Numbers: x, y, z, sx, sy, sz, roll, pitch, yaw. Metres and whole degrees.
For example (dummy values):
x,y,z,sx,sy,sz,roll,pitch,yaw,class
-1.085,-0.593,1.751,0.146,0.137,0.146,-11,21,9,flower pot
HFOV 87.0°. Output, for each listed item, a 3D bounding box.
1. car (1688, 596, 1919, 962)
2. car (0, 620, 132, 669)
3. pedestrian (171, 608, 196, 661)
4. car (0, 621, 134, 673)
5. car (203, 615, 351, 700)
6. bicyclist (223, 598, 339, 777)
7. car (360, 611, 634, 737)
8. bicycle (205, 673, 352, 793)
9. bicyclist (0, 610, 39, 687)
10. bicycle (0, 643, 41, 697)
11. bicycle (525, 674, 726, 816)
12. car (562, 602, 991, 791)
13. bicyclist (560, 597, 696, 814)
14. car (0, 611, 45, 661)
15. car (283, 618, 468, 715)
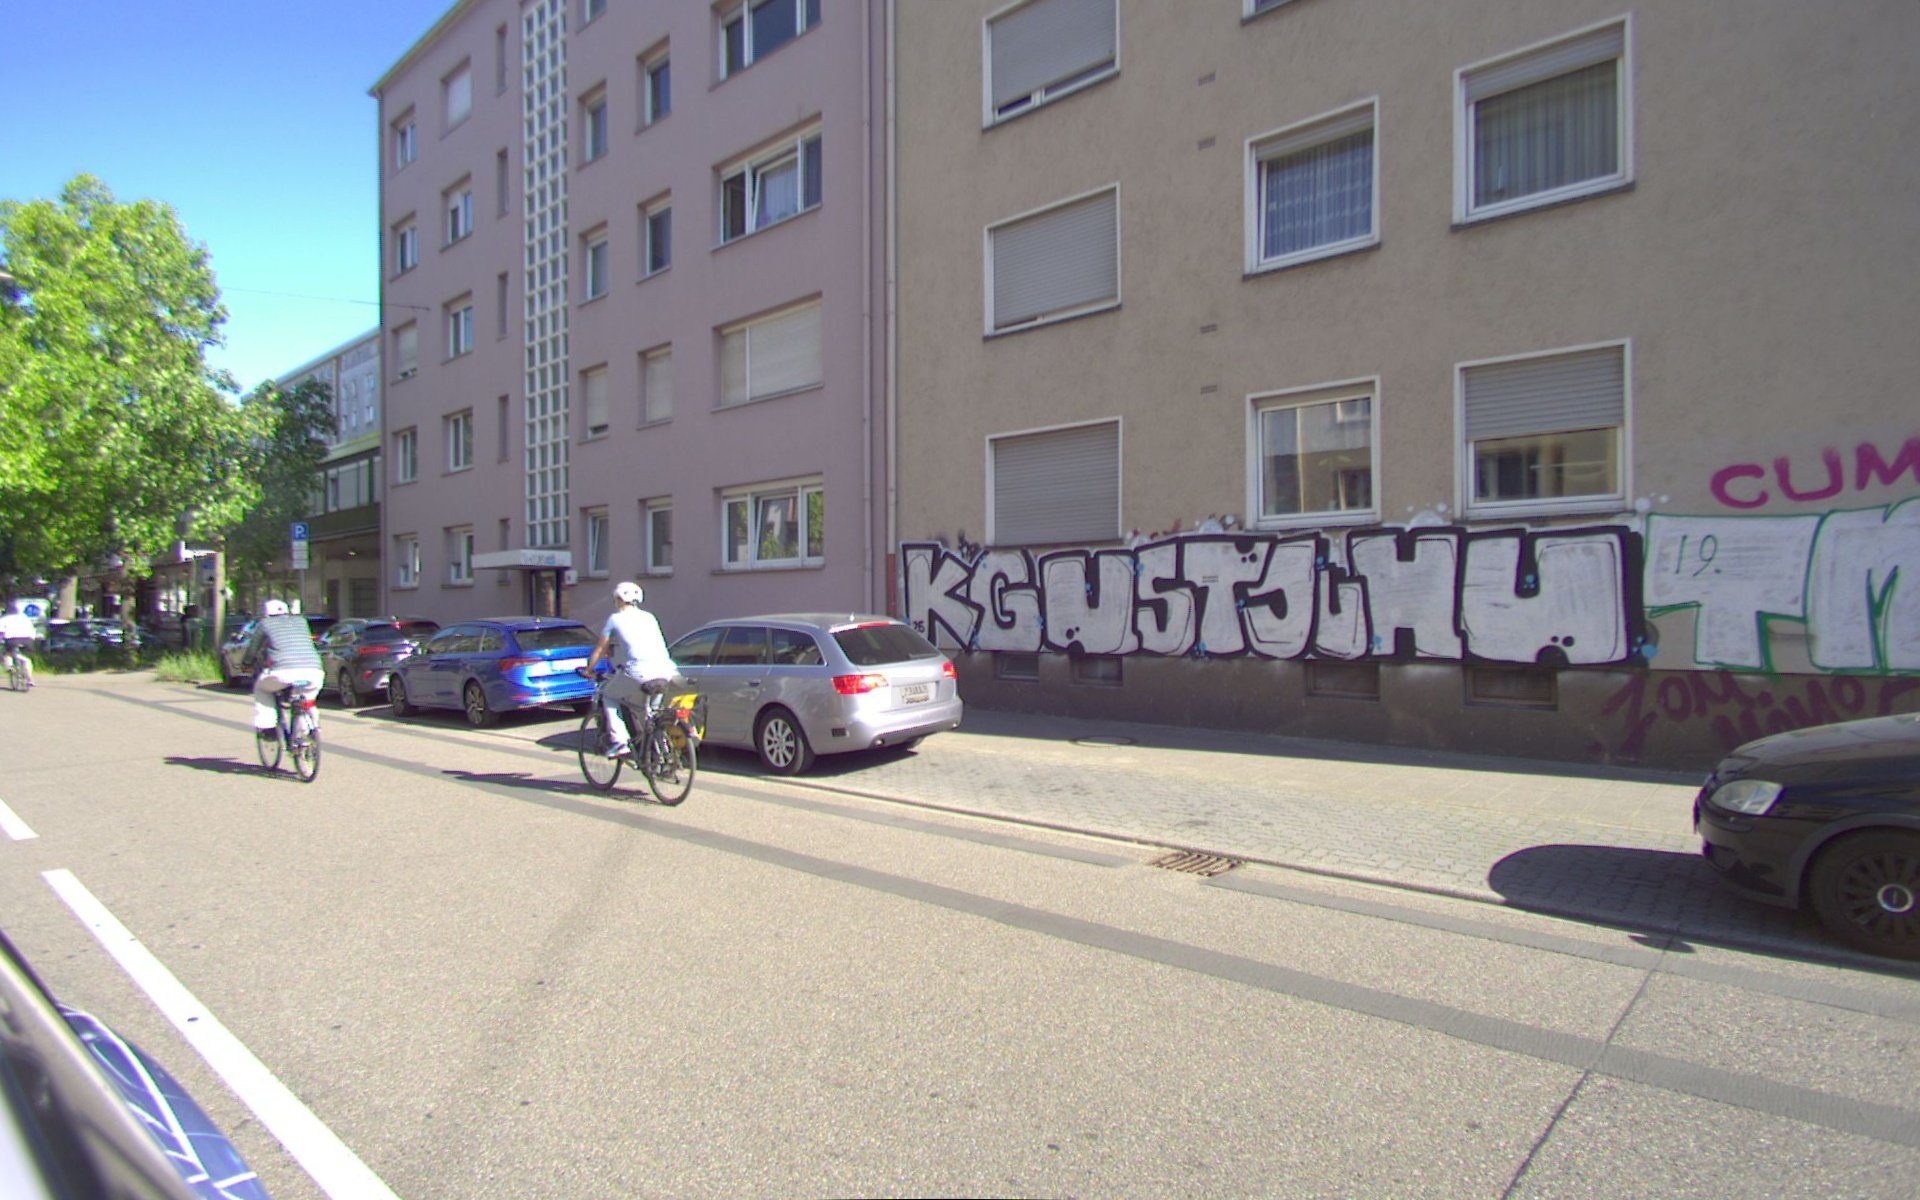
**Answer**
x,y,z,sx,sy,sz,roll,pitch,yaw,class
5.385,0.719,4.079,3.853,1.459,1.674,-2,1,40,car
-31.604,1.529,35.366,1.913,1.564,3.943,-2,-1,43,car
-27.314,1.201,35.615,0.502,1.820,0.615,-2,-1,42,pedestrian
-29.508,1.491,32.883,1.913,1.564,3.943,-2,-1,43,car
-14.800,1.179,21.855,4.157,1.588,1.704,-1,1,43,car
-6.429,0.797,9.585,0.898,1.588,0.672,-2,-3,41,bicyclist
-7.022,0.994,15.101,4.797,1.514,1.805,-2,1,40,car
-6.487,1.206,9.587,1.933,0.959,0.672,-2,-3,41,bicycle
-20.486,1.041,21.889,0.946,1.632,0.709,-1,-2,41,bicyclist
-20.461,1.496,21.856,1.871,1.072,0.709,-1,-1,41,bicycle
-2.771,1.125,8.280,1.933,0.959,0.672,-2,-3,41,bicycle
-2.125,0.862,10.749,4.797,1.514,1.805,-2,1,40,car
-2.703,0.819,8.238,0.898,1.643,0.672,-2,-3,41,bicyclist
-40.517,1.508,41.881,1.913,2.058,3.824,-2,-1,43,car
-10.659,1.117,18.335,4.157,1.478,1.704,-1,1,43,car
